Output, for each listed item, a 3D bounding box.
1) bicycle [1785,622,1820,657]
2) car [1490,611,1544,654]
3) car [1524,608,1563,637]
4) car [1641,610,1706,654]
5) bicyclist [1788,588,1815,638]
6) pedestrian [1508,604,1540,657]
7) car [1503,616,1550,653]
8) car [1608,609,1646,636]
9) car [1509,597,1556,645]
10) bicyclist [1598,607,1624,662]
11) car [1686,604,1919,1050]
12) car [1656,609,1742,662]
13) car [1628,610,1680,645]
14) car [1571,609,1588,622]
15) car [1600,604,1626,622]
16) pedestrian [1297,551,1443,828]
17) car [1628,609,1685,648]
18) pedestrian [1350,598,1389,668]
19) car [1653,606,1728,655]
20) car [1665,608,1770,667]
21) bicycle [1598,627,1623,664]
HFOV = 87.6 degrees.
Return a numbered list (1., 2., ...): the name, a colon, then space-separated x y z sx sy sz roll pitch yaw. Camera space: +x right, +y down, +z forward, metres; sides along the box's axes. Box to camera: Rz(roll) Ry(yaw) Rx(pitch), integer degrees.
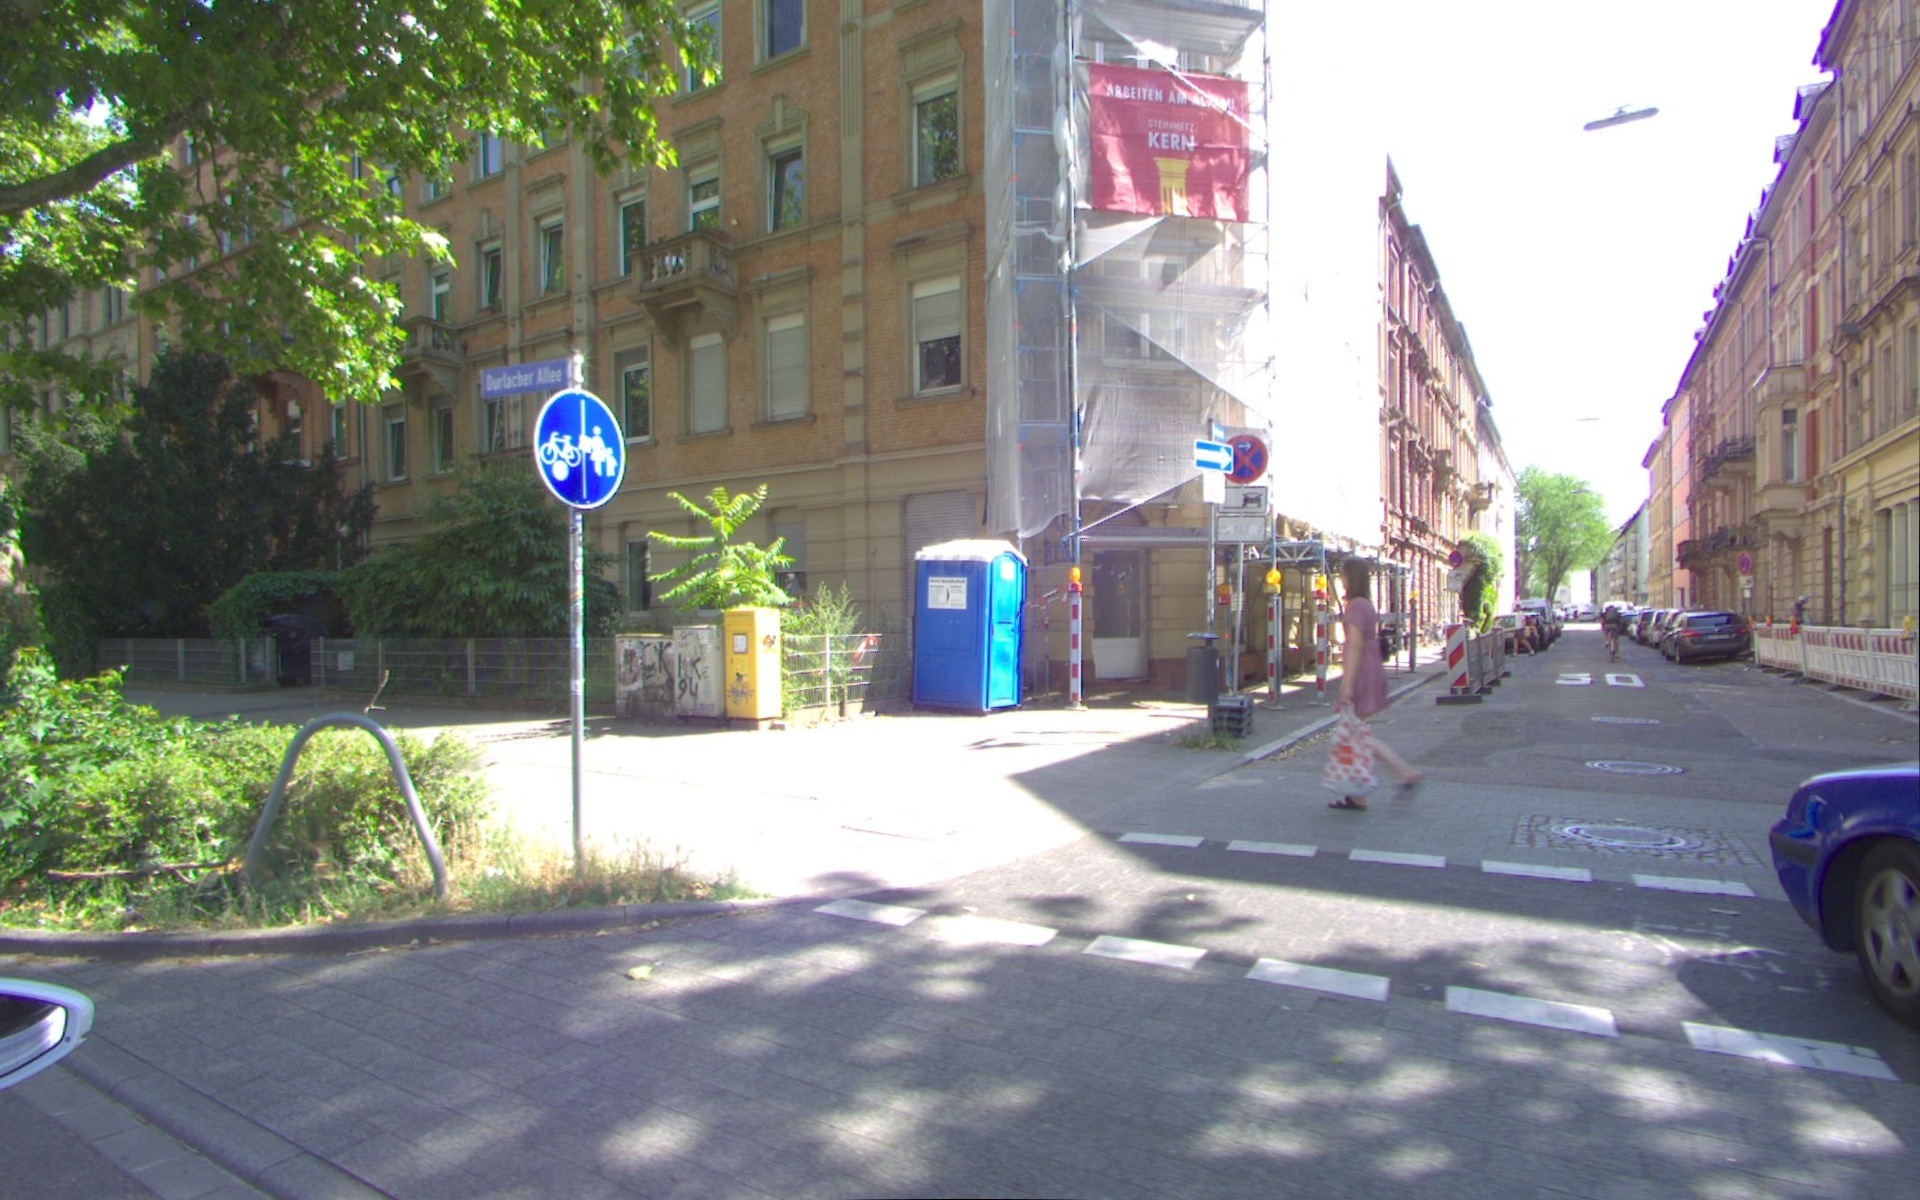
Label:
1. bicycle: 24.822 1.150 29.527 0.530 0.991 1.304 -1 -1 28
2. car: 21.450 1.224 38.511 1.703 1.549 3.479 -1 -1 31
3. car: 36.315 1.403 62.287 1.887 1.732 4.139 -1 -1 33
4. car: 30.373 1.329 42.724 1.971 1.761 3.980 -1 -1 31
5. bicyclist: 24.833 0.392 29.557 0.525 1.472 0.459 -1 0 28
6. pedestrian: 19.592 1.052 34.805 0.922 1.822 1.034 -1 0 29
7. car: 24.479 1.458 43.237 1.703 1.549 3.479 -1 -1 30
8. car: 44.934 1.474 67.512 1.971 1.761 3.980 -1 -1 31
9. car: 30.191 1.096 52.745 1.887 2.404 4.224 -1 -1 33
10. bicyclist: 19.868 1.040 30.580 0.615 1.644 0.692 -1 0 30
11. car: 4.042 0.701 2.159 1.851 1.428 4.093 -1 -1 -3
12. car: 24.917 1.155 33.900 1.971 1.661 3.980 -1 -1 31
13. car: 36.559 1.438 52.835 1.971 1.761 3.980 -1 -1 31
14. car: 86.328 2.100 139.601 1.971 1.761 3.980 -1 -1 31
15. car: 65.317 1.324 100.205 1.971 1.761 3.980 -1 -1 31
16. pedestrian: 2.901 0.593 7.065 0.840 1.808 0.735 0 0 32
17. car: 33.368 1.334 48.048 1.971 1.761 3.980 -1 -1 31
18. pedestrian: 10.409 0.841 25.501 0.843 1.748 0.834 -1 0 19
19. car: 27.589 1.119 37.935 1.971 1.761 3.980 -1 -1 31
20. car: 21.582 1.025 28.682 1.971 1.572 3.980 -1 -1 31
21. bicycle: 19.936 1.384 30.714 0.525 1.062 1.917 -1 -1 29
